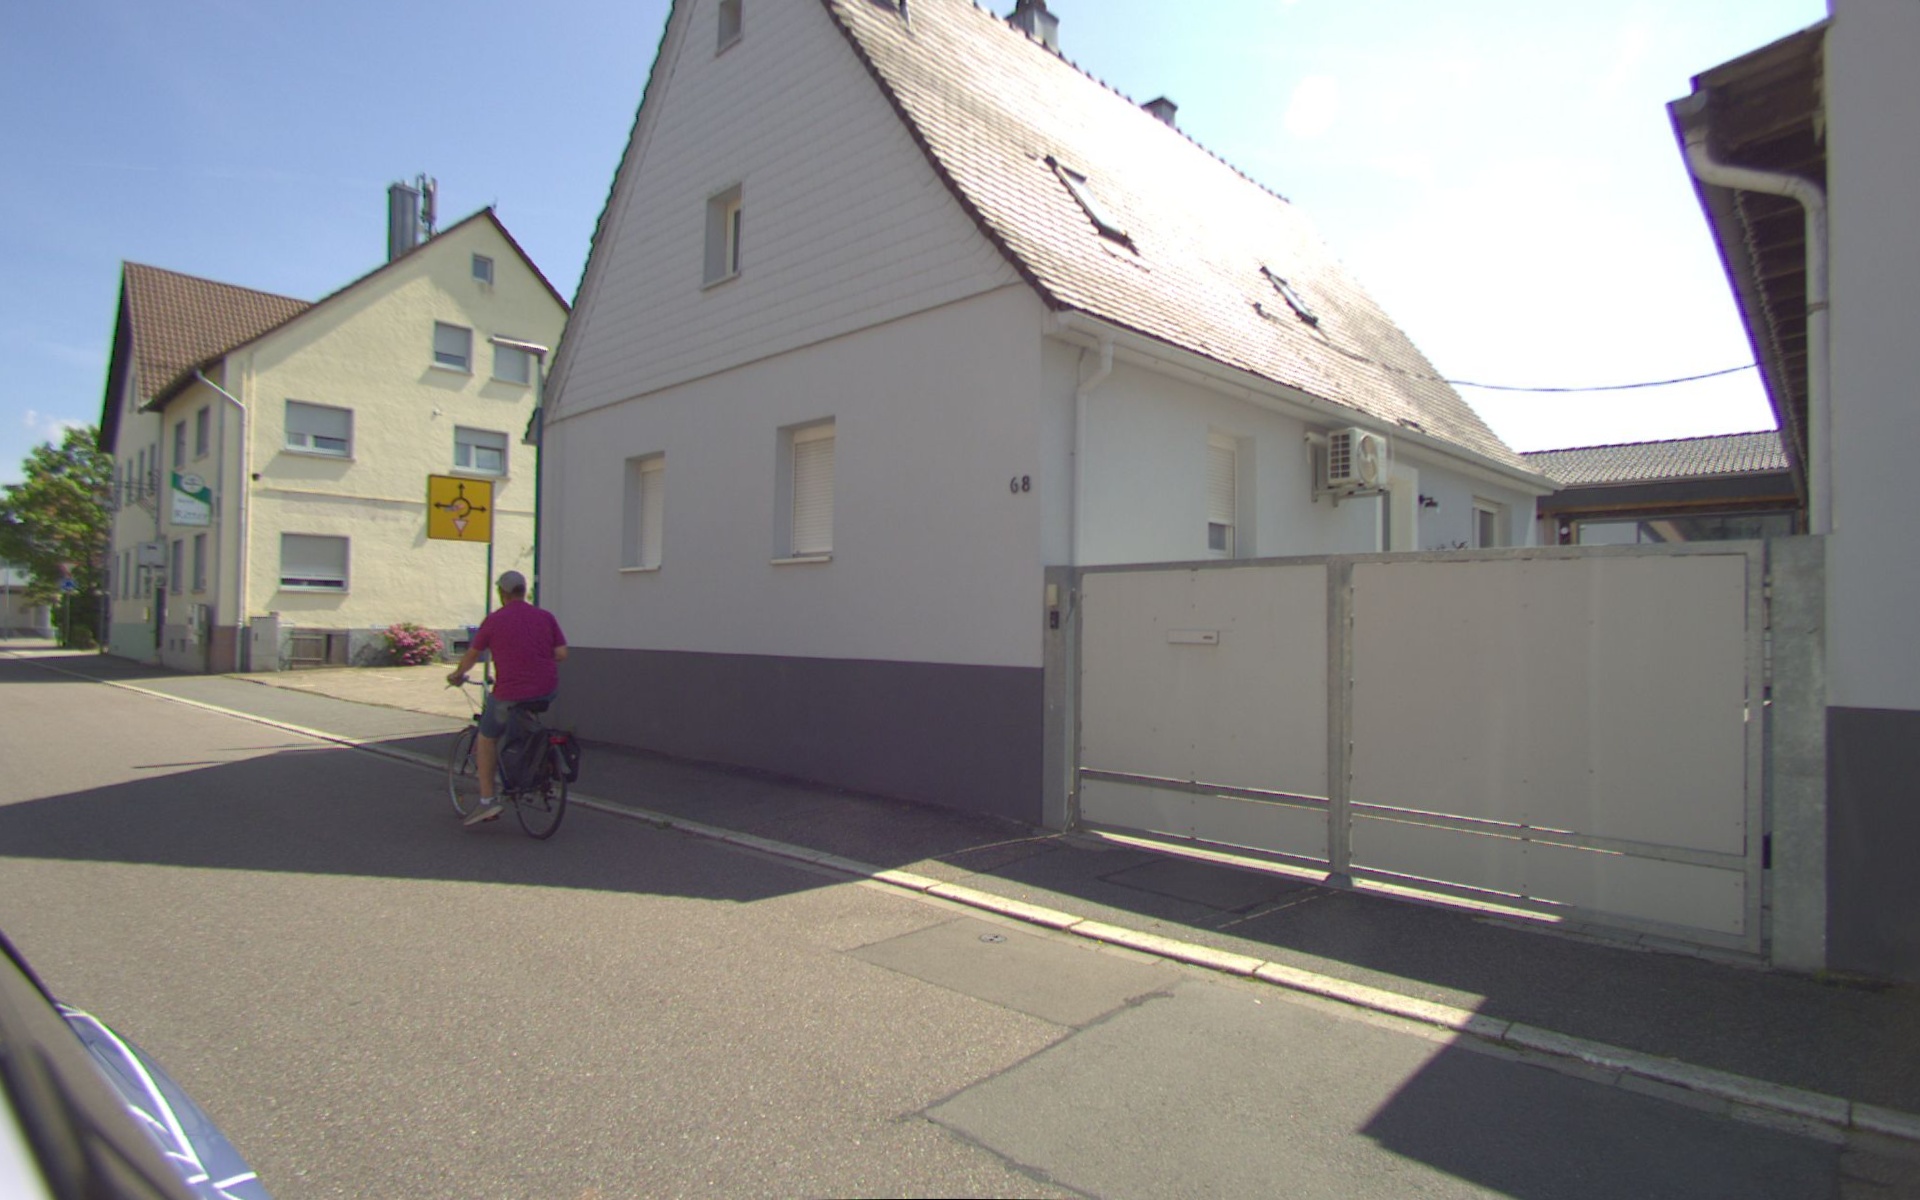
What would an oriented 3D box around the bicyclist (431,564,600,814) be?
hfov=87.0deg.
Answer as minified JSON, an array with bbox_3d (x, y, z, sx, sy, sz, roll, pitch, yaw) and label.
[{"bbox_3d":[-3.214,0.615,7.305,0.957,1.649,0.738,-1,-5,45],"label":"bicyclist"}]

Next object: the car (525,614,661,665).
[{"bbox_3d":[-10.948,1.115,30.043,4.829,1.390,1.804,-1,-1,43],"label":"car"}]

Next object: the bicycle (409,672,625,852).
[{"bbox_3d":[-3.255,1.093,7.336,0.734,1.055,1.941,6,-5,-45],"label":"bicycle"}]

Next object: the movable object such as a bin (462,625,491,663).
[{"bbox_3d":[-14.317,1.297,29.973,0.680,1.080,0.571,-1,-1,43],"label":"movable object such as a bin"}]

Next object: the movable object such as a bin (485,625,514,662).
[{"bbox_3d":[-13.885,1.312,30.520,0.680,1.080,0.571,-1,-1,43],"label":"movable object such as a bin"}]
